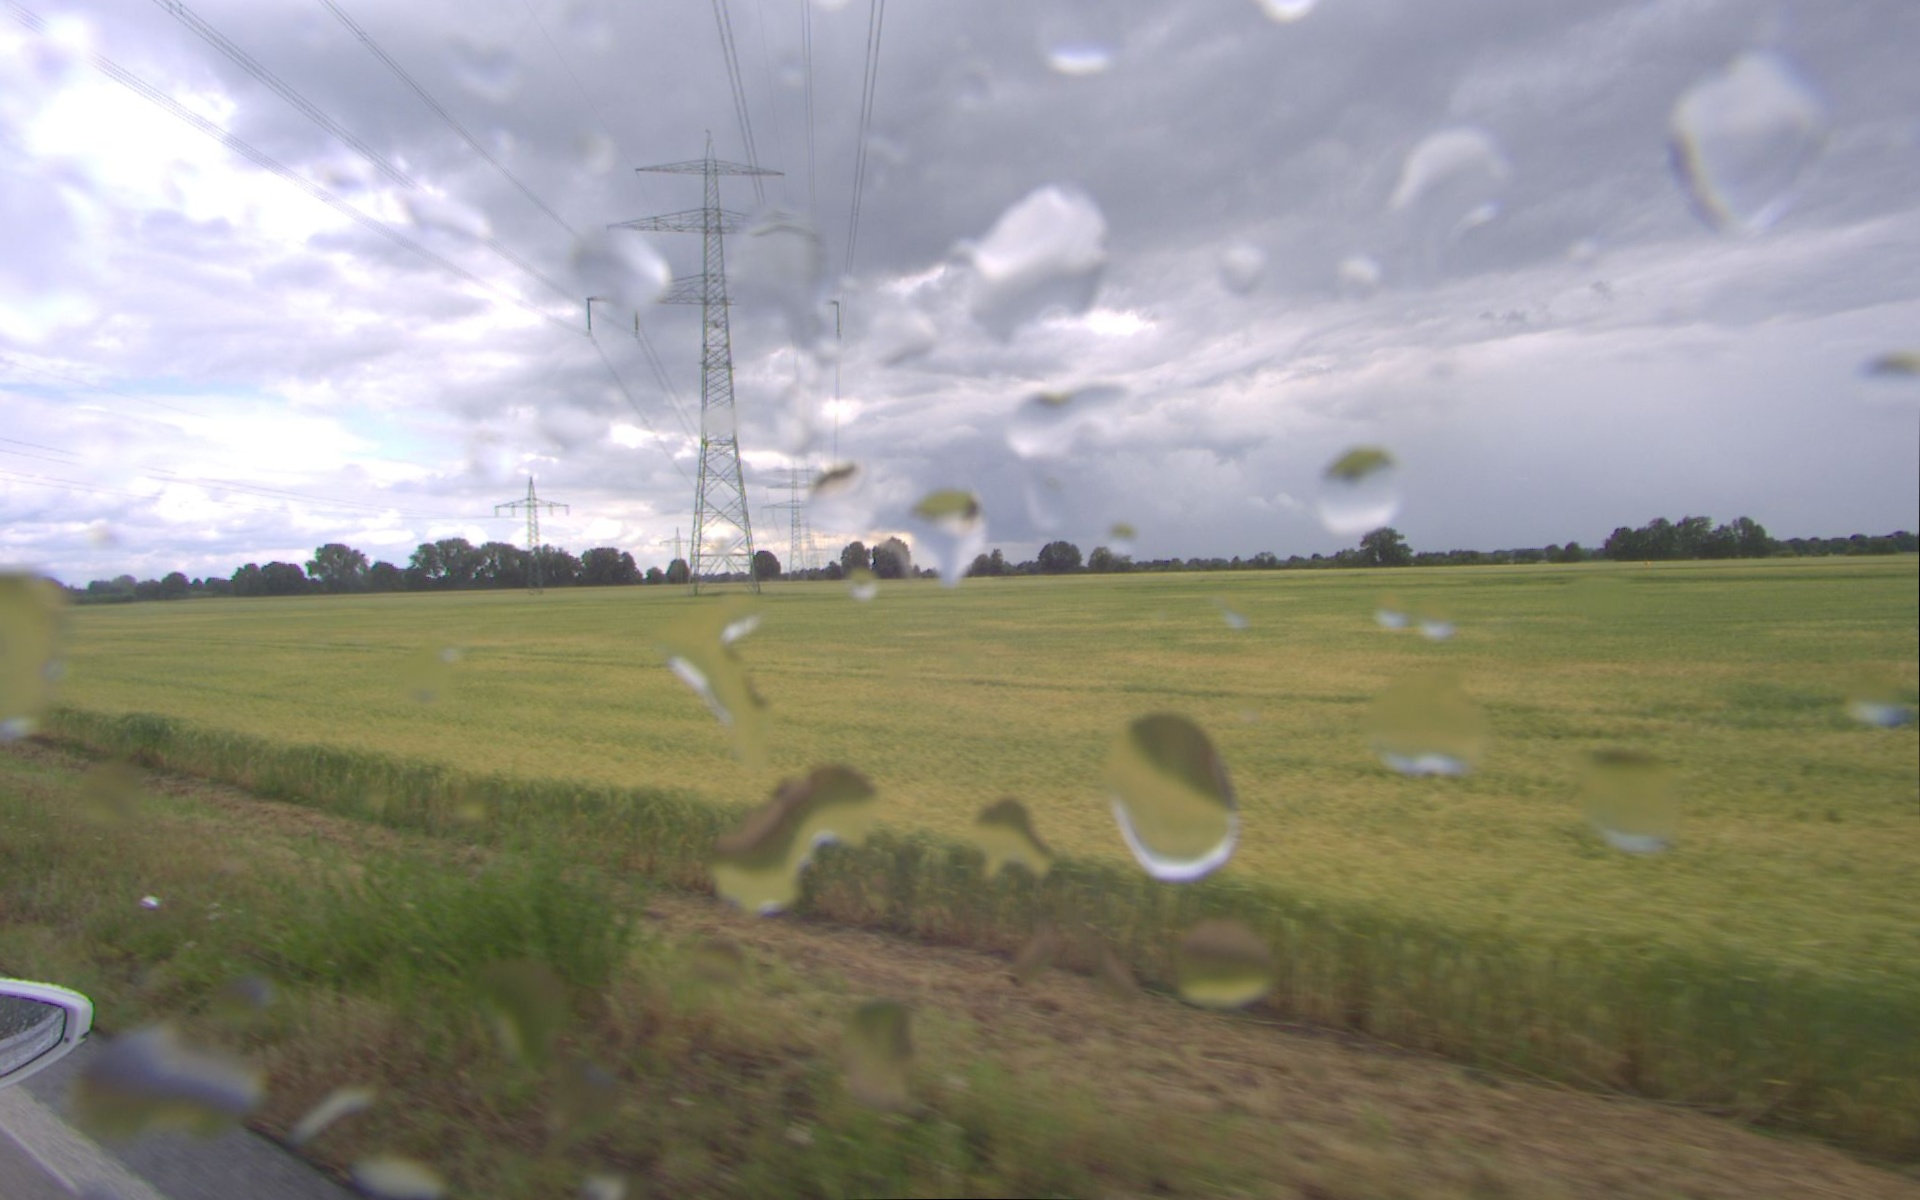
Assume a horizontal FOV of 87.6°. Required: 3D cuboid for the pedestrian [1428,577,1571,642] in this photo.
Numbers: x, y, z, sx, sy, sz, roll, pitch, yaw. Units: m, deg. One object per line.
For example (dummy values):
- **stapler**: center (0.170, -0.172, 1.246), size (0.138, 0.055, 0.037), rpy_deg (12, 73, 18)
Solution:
- **pedestrian**: center (17.978, 0.359, 33.591), size (3.932, 2.039, 1.996), rpy_deg (-2, -2, 22)
